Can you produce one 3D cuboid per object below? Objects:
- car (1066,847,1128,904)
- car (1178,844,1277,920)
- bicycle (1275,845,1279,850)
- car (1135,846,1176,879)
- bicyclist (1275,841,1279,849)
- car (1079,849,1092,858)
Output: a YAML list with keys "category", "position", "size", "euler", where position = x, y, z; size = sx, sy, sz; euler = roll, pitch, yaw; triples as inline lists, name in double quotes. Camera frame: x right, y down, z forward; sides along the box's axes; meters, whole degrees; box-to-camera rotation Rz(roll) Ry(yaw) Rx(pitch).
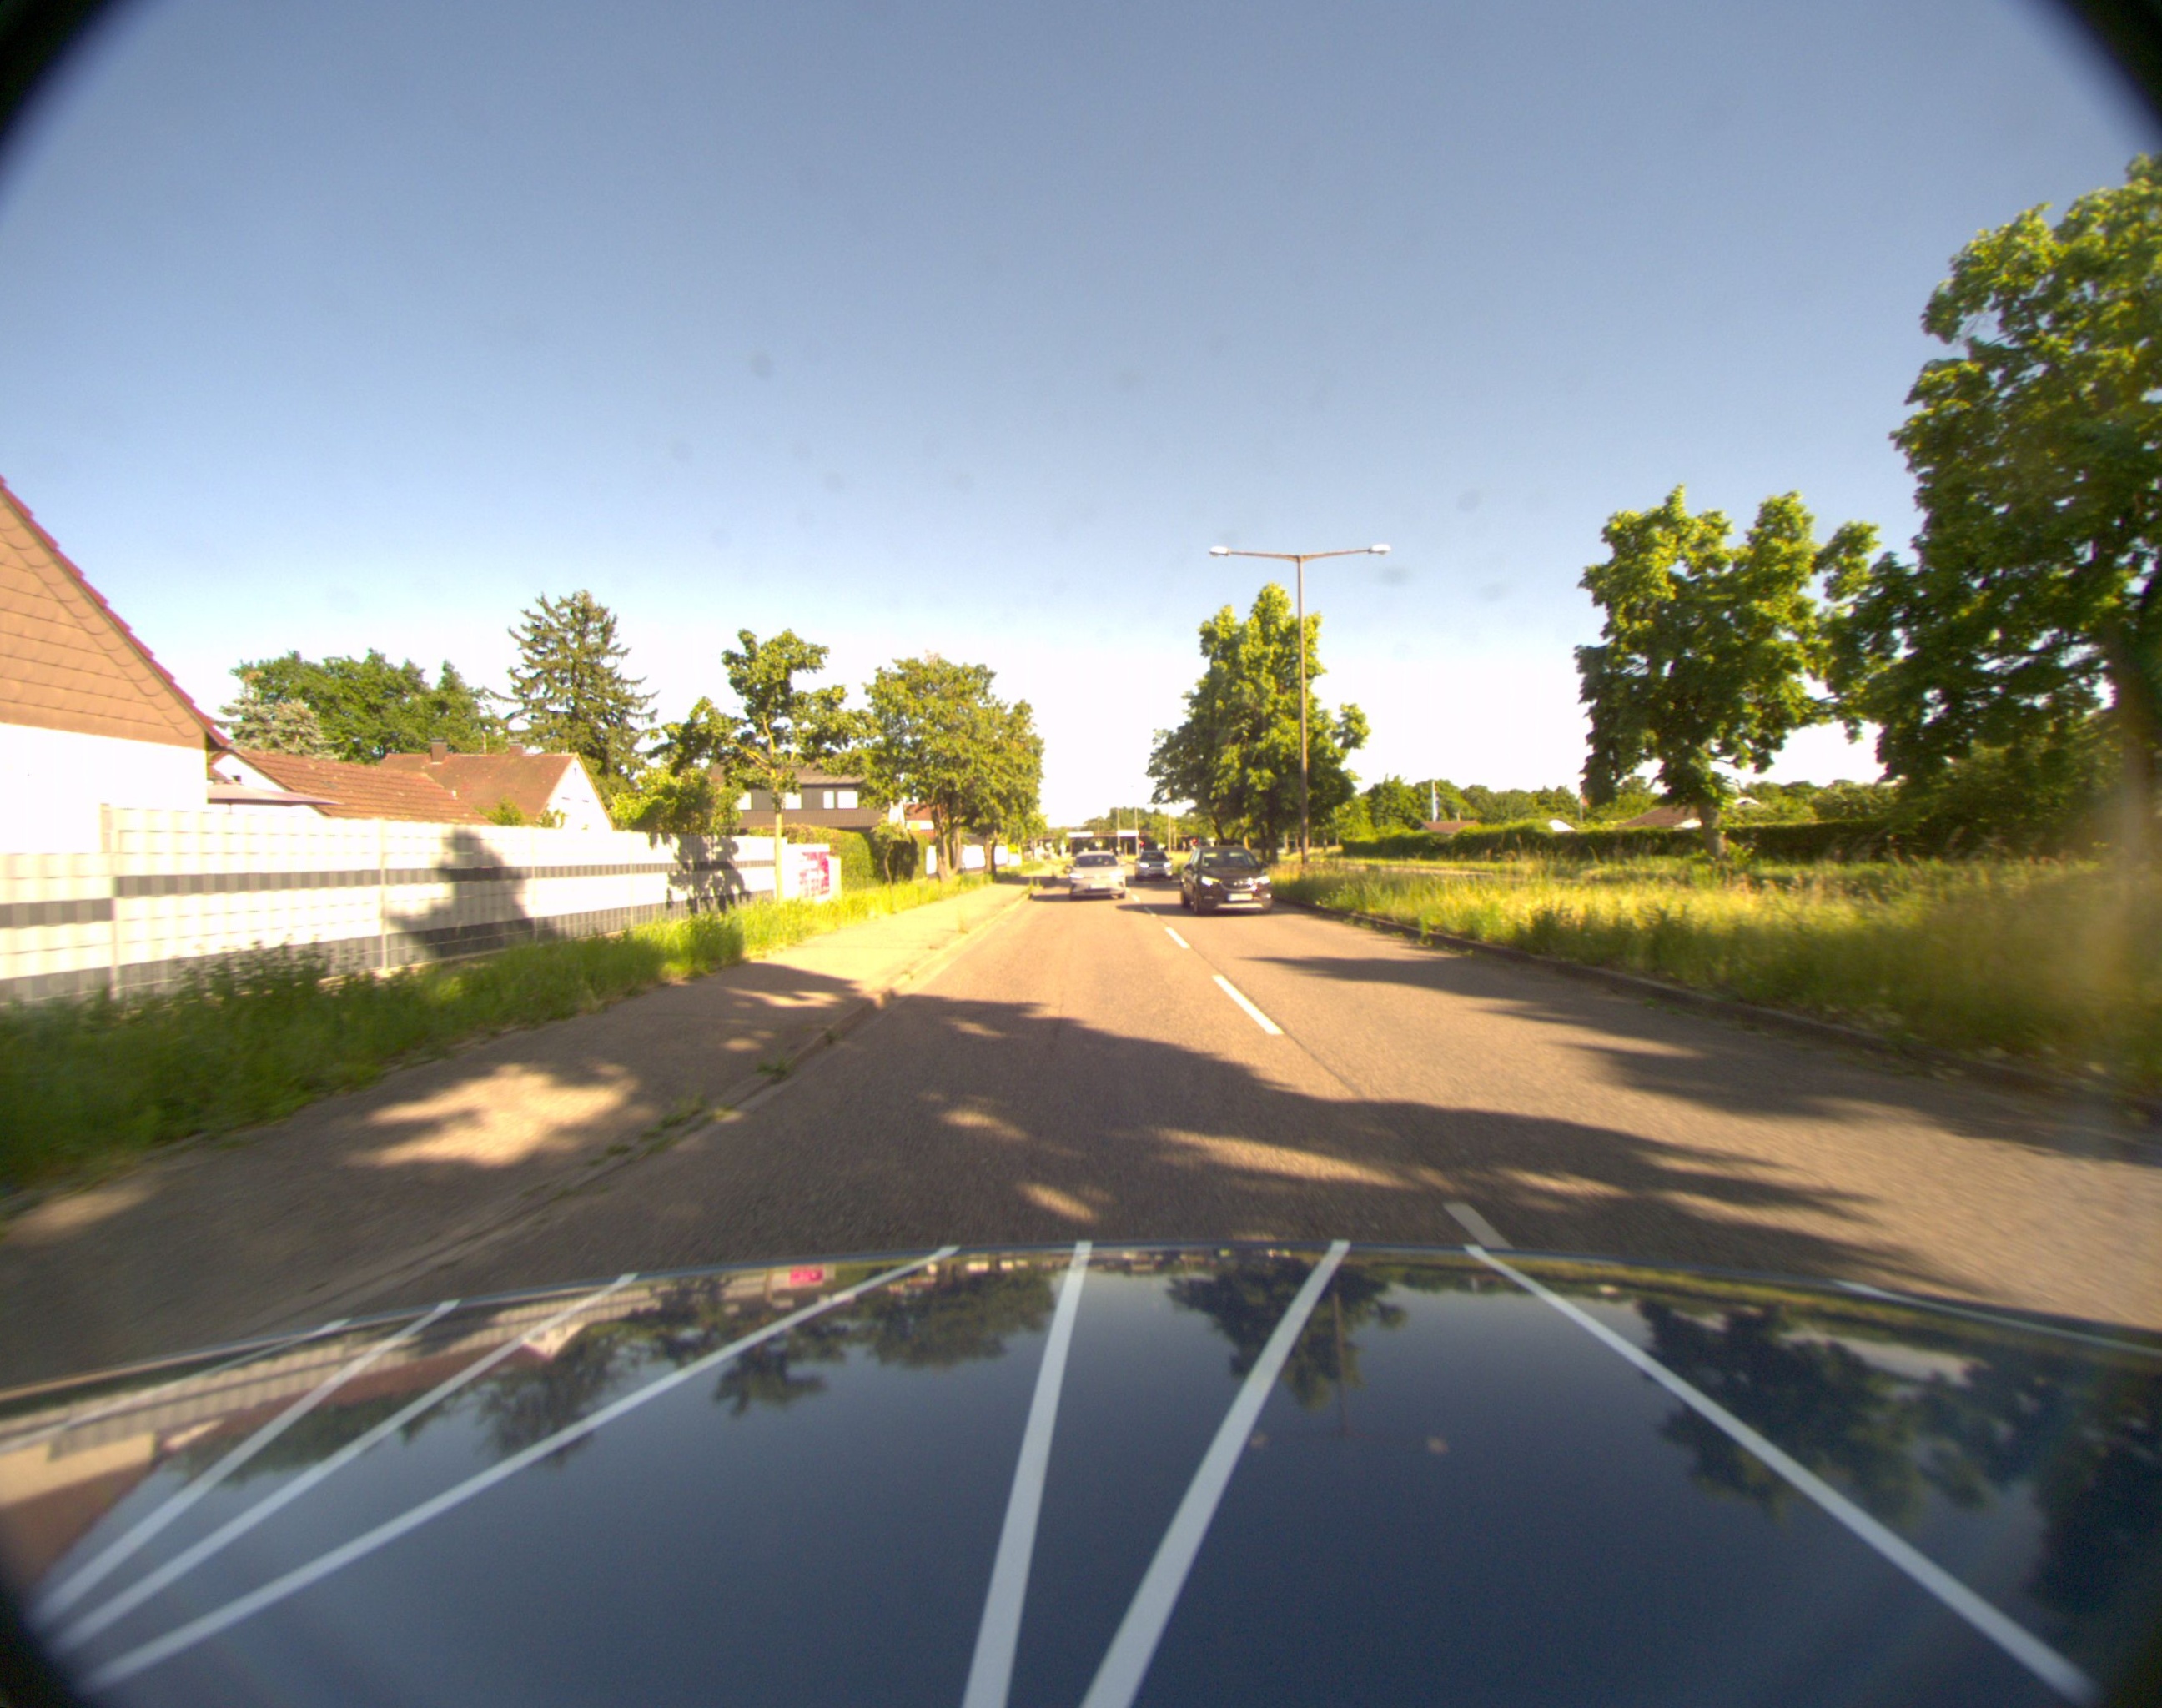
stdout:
- category: "car"
  position: [0.542, 0.632, 25.277]
  size: [1.801, 1.665, 4.239]
  euler: [-2, 1, 2]
- category: "car"
  position: [3.512, 0.605, 18.832]
  size: [1.714, 1.653, 3.856]
  euler: [-1, 1, 1]
- category: "bicycle"
  position: [31.256, -1.064, 121.210]
  size: [0.566, 0.691, 1.876]
  euler: [-2, 1, 11]
- category: "car"
  position: [3.916, 0.397, 40.552]
  size: [1.830, 1.604, 4.092]
  euler: [-2, 1, 1]
- category: "bicyclist"
  position: [31.255, -1.453, 121.197]
  size: [0.584, 1.249, 0.576]
  euler: [-2, 1, 10]
- category: "car"
  position: [0.892, -0.102, 145.180]
  size: [1.874, 1.611, 3.833]
  euler: [-2, 1, -8]
